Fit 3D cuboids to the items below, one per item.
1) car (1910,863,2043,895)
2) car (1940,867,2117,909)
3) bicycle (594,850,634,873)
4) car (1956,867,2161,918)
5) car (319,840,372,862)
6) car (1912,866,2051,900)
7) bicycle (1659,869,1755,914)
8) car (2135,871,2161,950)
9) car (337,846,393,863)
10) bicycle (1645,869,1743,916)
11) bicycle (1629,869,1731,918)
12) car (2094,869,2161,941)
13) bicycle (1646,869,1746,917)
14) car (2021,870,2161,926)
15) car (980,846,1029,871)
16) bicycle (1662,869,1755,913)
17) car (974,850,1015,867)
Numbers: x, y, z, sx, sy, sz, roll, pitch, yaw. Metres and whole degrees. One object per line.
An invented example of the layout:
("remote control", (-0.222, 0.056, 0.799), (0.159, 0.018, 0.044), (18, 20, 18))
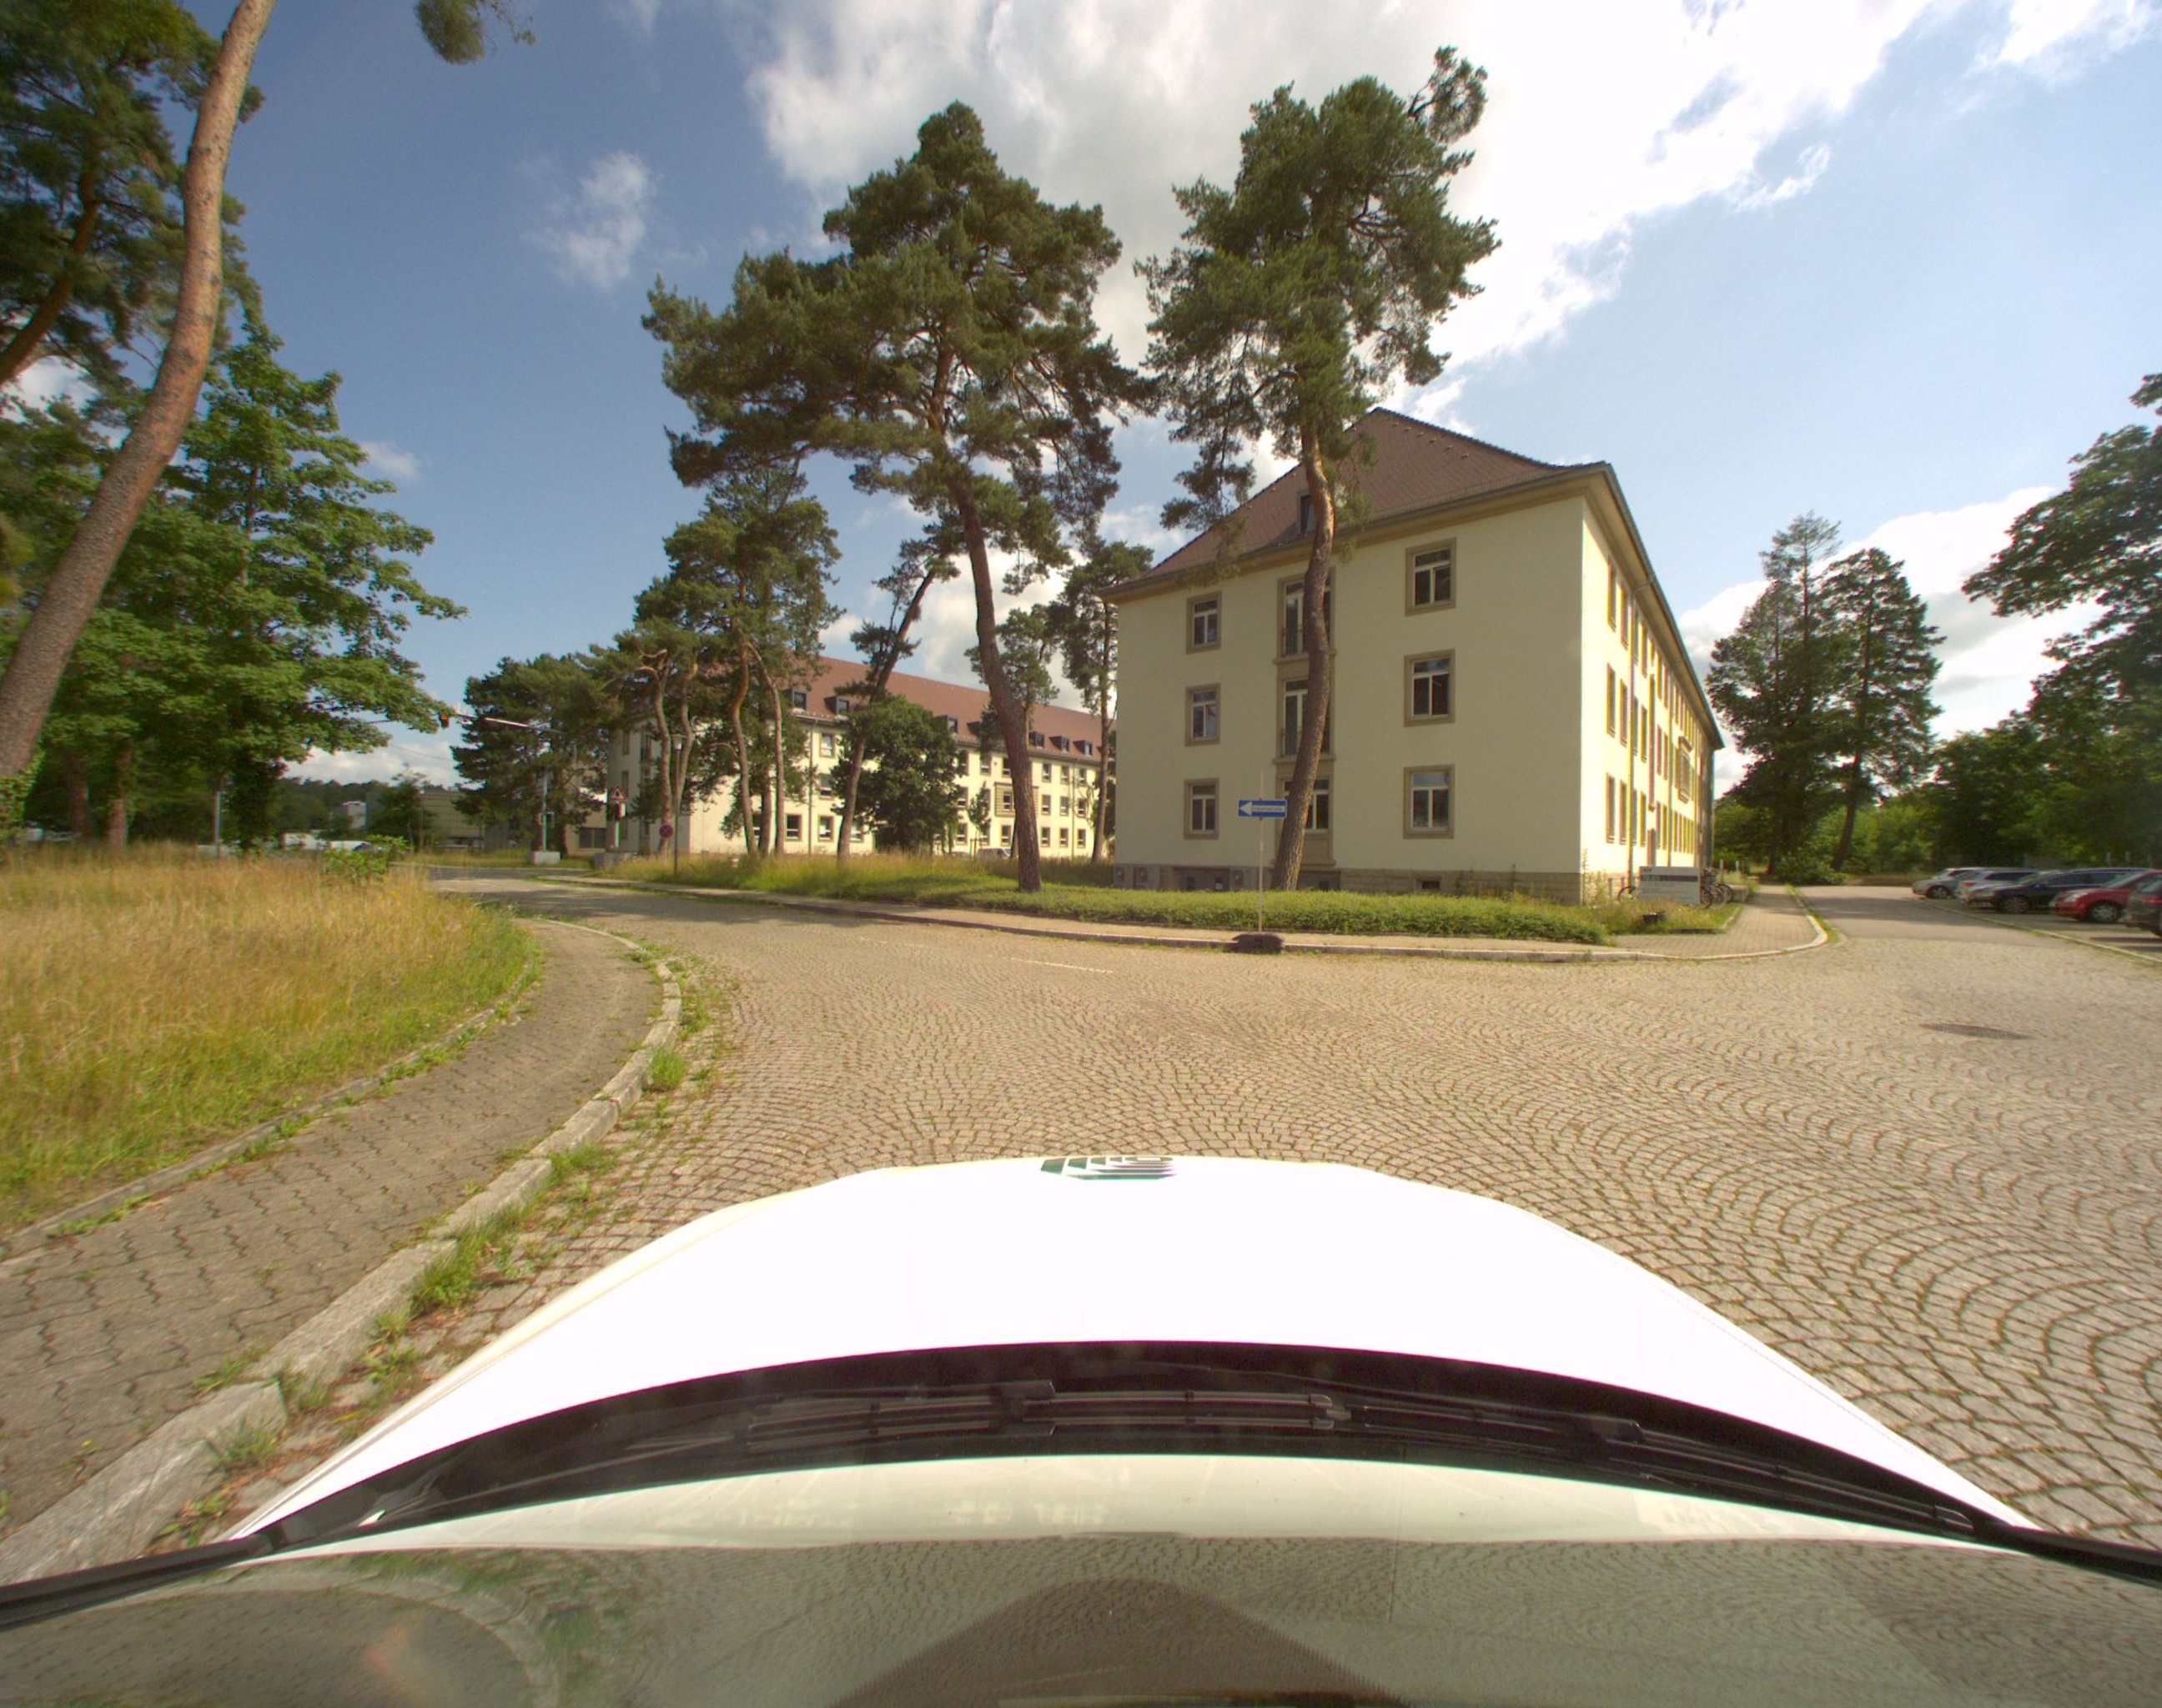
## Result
("car", (43.515, 1.188, 39.729), (4.147, 1.484, 1.831), (-1, -2, 42))
("car", (35.845, 1.262, 31.004), (4.147, 1.484, 1.831), (-1, -2, 42))
("bicycle", (-22.482, 0.359, 39.190), (1.594, 1.101, 0.486), (1, 0, -38))
("car", (32.236, 1.231, 27.034), (4.147, 1.543, 1.831), (-1, -2, 42))
("car", (-71.533, -0.259, 79.274), (3.711, 2.088, 1.710), (1, -1, -40))
("car", (41.560, 1.302, 37.747), (4.147, 1.484, 1.831), (-1, -2, 42))
("bicycle", (18.498, 1.080, 24.103), (2.201, 1.260, 0.627), (0, -1, 43))
("car", (22.288, 1.043, 14.427), (4.147, 1.484, 1.770), (-1, -2, 42))
("car", (-64.534, 0.078, 73.505), (3.711, 1.503, 1.710), (1, -1, -40))
("bicycle", (17.699, 1.078, 23.565), (0.626, 1.260, 2.202), (1, -1, -43))
("bicycle", (16.412, 1.056, 22.362), (0.626, 1.260, 2.202), (1, -1, -43))
("car", (24.058, 1.052, 16.506), (4.147, 1.484, 1.831), (-1, -2, 42))
("bicycle", (17.208, 1.057, 22.833), (2.201, 1.260, 0.627), (0, -1, 43))
("car", (29.239, 1.181, 22.392), (4.226, 1.484, 1.831), (-1, -2, 42))
("car", (-6.331, 0.372, 67.070), (4.021, 1.991, 1.723), (0, -1, 41))
("bicycle", (19.138, 1.093, 24.891), (2.201, 1.260, 0.627), (0, -1, 43))
("car", (-6.850, 0.347, 64.277), (3.253, 1.343, 1.434), (0, -1, 41))
